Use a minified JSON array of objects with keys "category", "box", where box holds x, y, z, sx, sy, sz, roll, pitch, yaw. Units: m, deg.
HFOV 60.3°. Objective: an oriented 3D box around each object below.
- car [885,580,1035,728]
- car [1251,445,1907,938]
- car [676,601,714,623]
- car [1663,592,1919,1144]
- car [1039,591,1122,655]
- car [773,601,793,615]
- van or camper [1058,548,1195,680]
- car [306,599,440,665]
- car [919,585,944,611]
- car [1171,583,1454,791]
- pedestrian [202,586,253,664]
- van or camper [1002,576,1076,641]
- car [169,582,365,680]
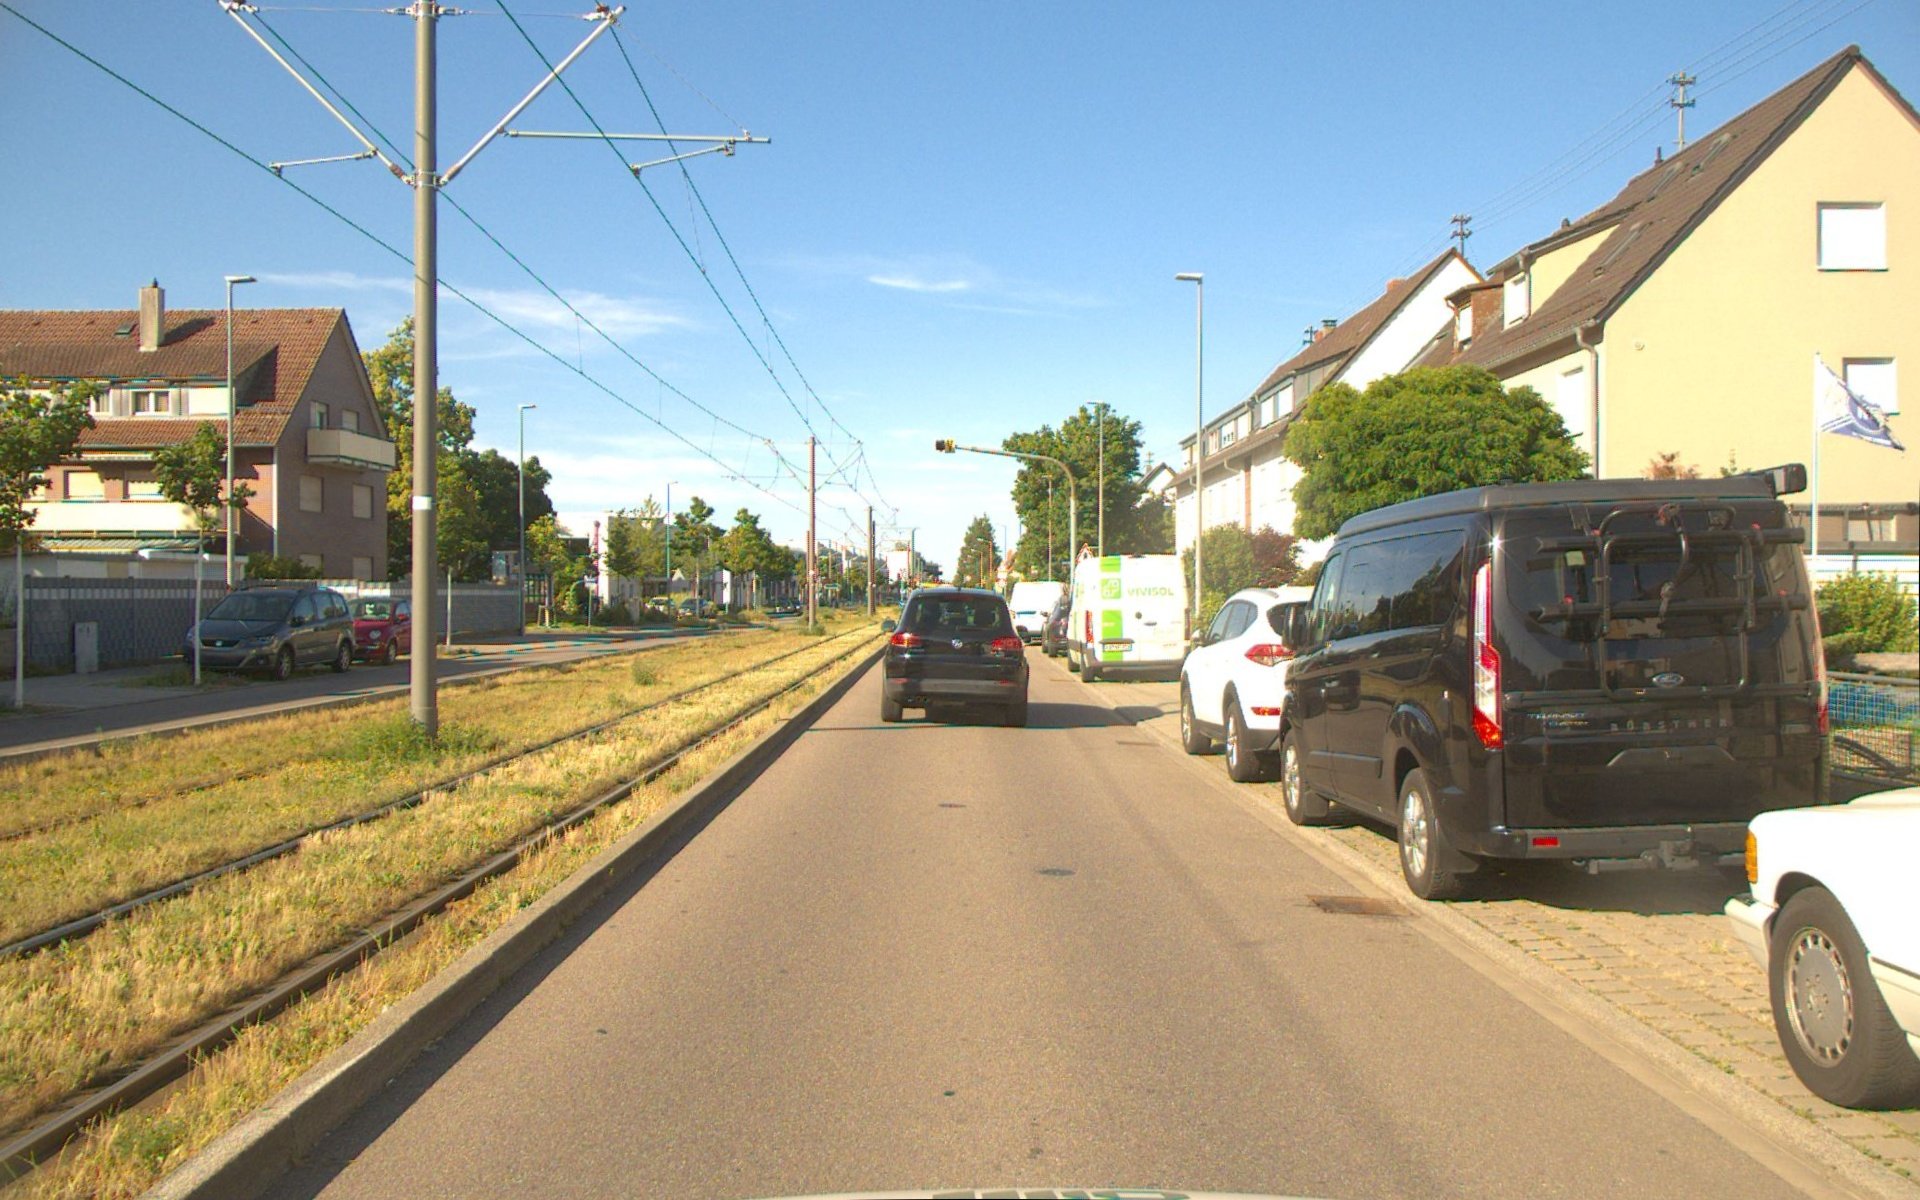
[{"category":"car","box":[-0.080,0.642,21.471,1.740,1.699,3.998,1,0,-2]},{"category":"car","box":[3.267,0.408,10.128,1.920,2.181,5.334,-1,0,-1]},{"category":"car","box":[-18.936,0.837,118.315,1.772,1.486,4.319,1,0,4]},{"category":"car","box":[3.489,0.723,3.266,1.814,1.469,5.613,-2,0,0]},{"category":"car","box":[3.056,0.572,42.994,1.713,1.520,5.154,-2,0,0]},{"category":"car","box":[-18.983,0.868,177.482,1.653,1.413,4.388,-2,0,1]},{"category":"van or camper","box":[3.155,0.260,32.602,1.953,2.310,6.304,-2,0,0]},{"category":"car","box":[-13.610,0.705,38.578,1.660,1.429,4.078,0,0,0]},{"category":"car","box":[-2.893,-0.149,168.622,2.345,2.609,5.529,0,0,0]},{"category":"car","box":[3.173,0.713,15.736,1.690,1.674,4.318,-1,0,-1]},{"category":"pedestrian","box":[-16.041,0.545,36.243,0.682,1.669,0.919,1,0,-3]},{"category":"van or camper","box":[2.608,0.258,53.448,1.985,1.990,5.299,0,0,7]},{"category":"car","box":[-13.500,0.561,32.567,1.782,1.714,4.845,2,0,0]}]
